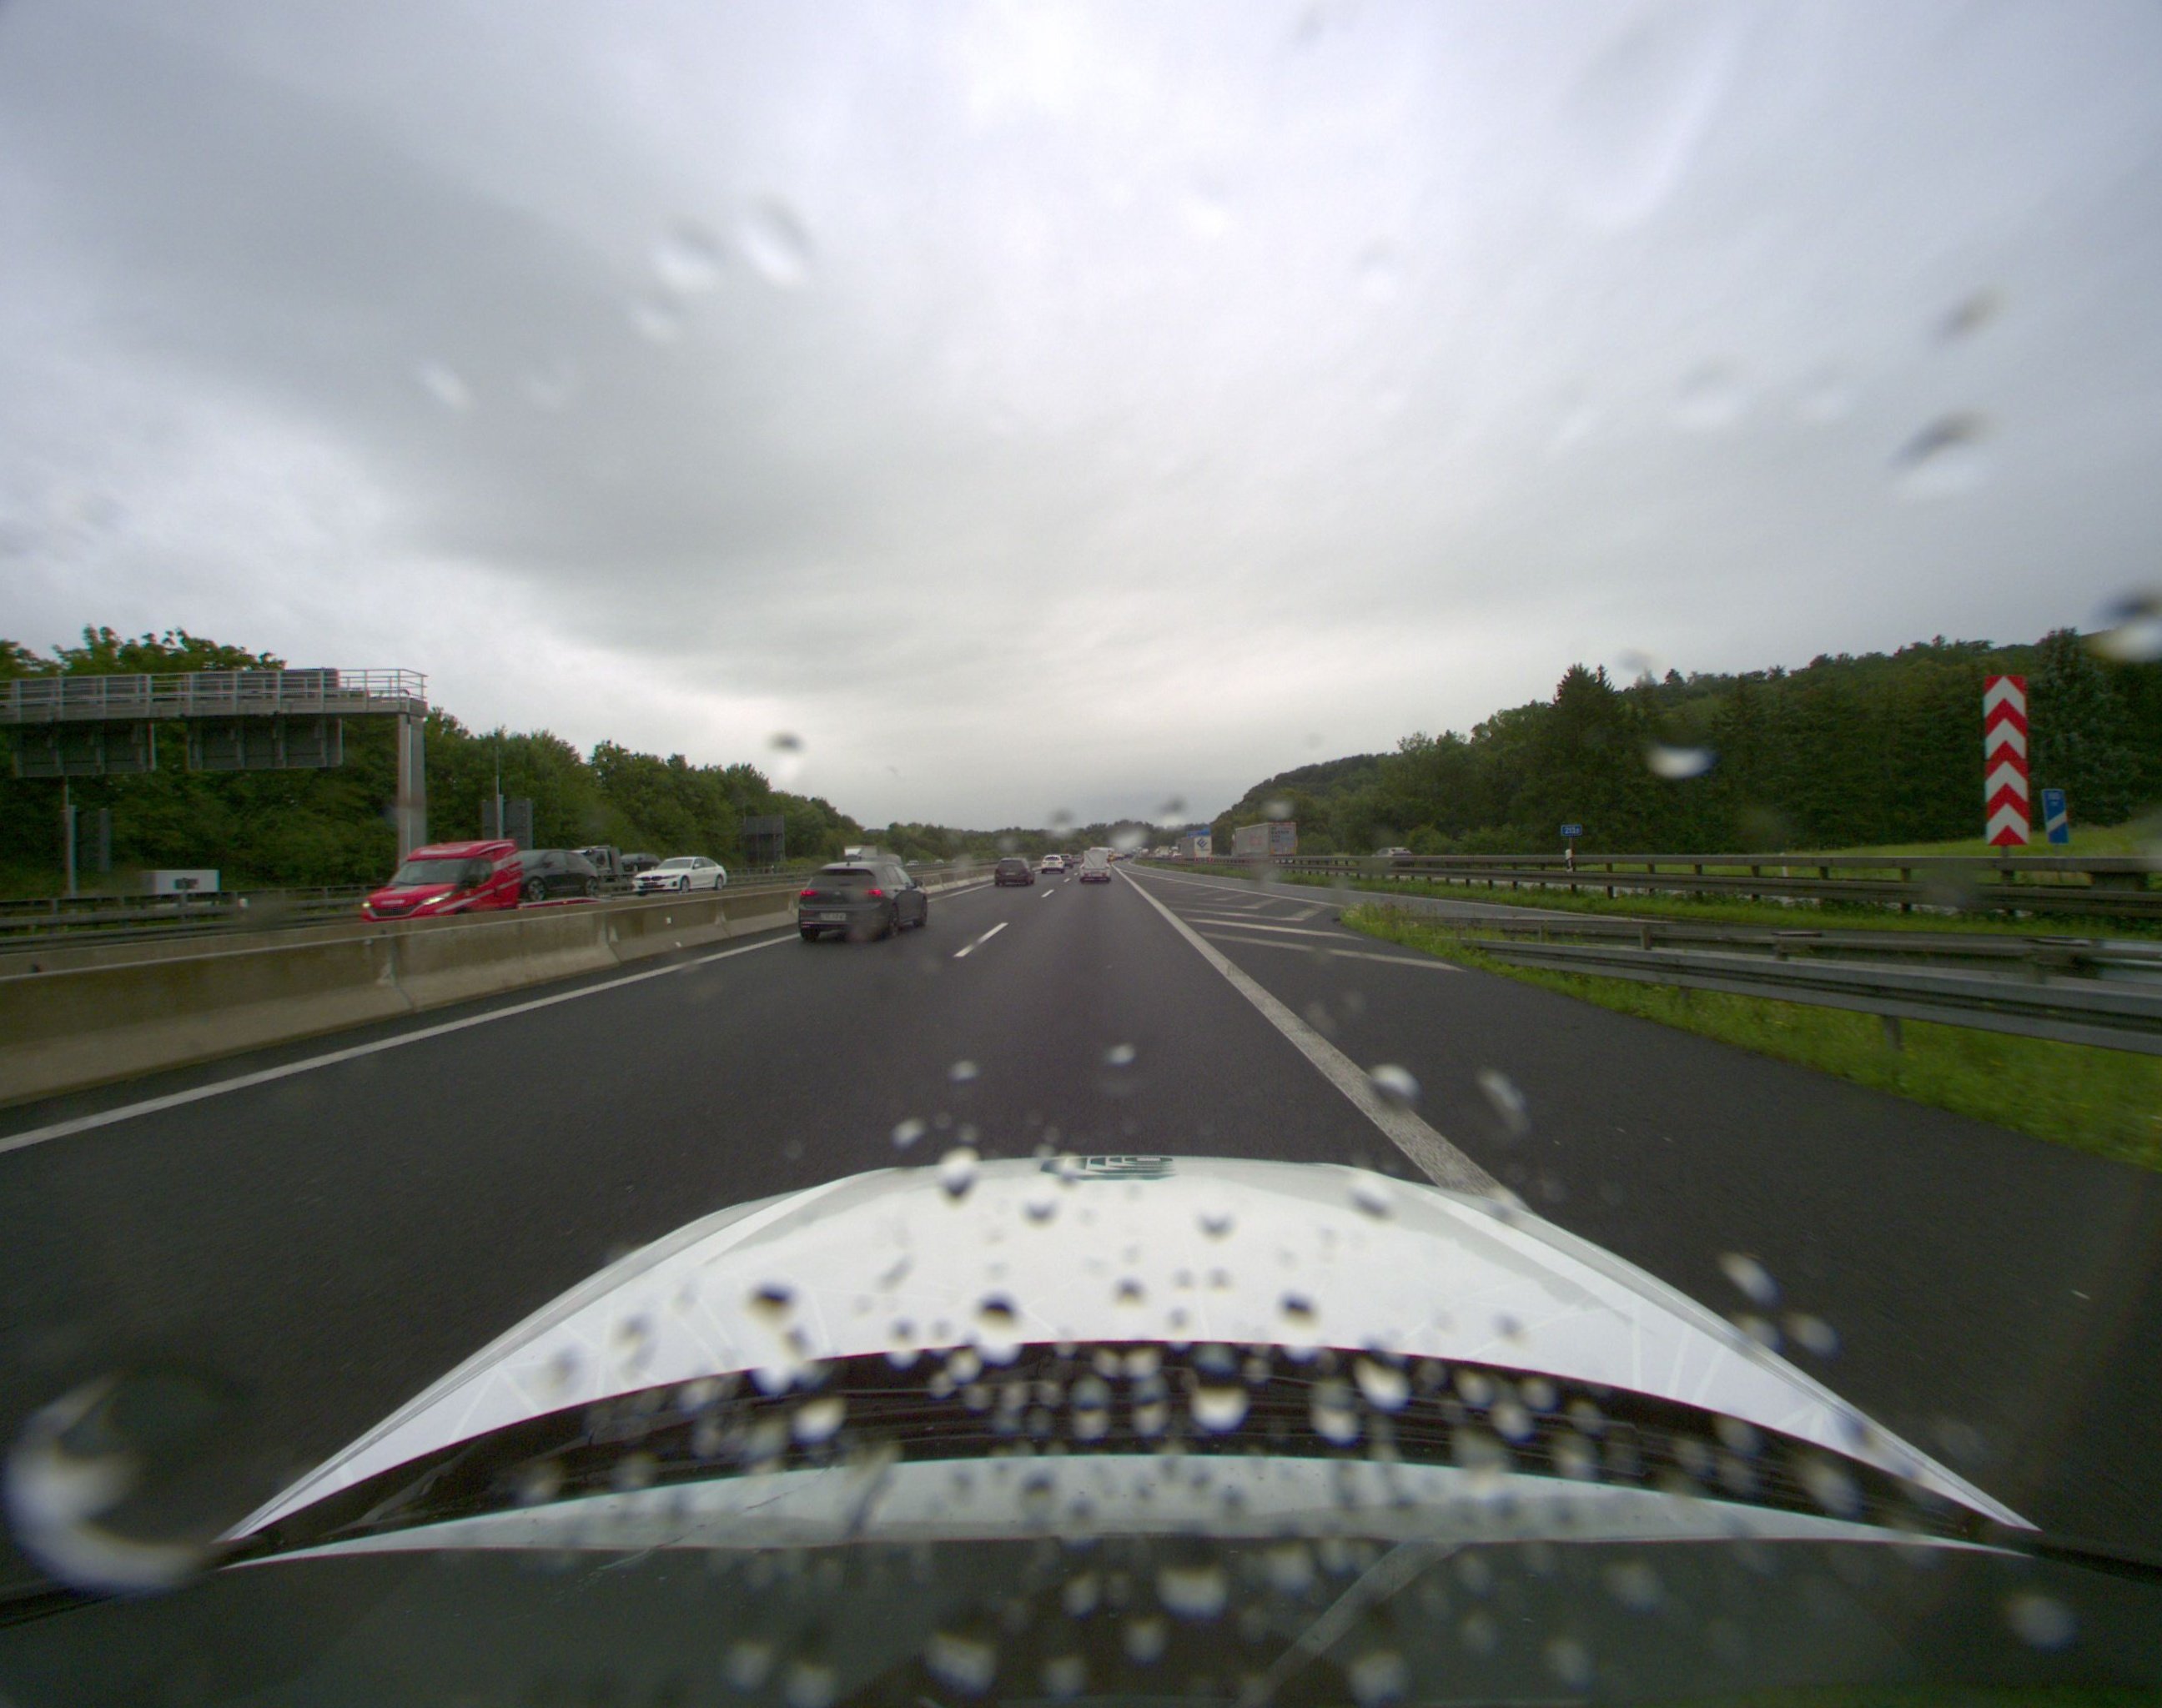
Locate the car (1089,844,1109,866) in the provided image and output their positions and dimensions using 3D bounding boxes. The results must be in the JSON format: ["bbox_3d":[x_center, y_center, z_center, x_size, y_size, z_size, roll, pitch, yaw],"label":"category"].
[{"bbox_3d":[2.352,0.152,107.505,2.324,2.725,6.538,-1,0,-1],"label":"car"}]

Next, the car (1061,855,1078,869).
[{"bbox_3d":[-1.390,0.962,100.476,1.969,1.703,4.803,0,0,1],"label":"car"}]

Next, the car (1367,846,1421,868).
[{"bbox_3d":[22.467,0.213,58.647,1.815,1.504,5.028,-1,0,-2],"label":"car"}]

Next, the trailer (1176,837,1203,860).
[{"bbox_3d":[17.119,-0.804,128.805,2.930,3.527,8.413,0,0,-2],"label":"trailer"}]

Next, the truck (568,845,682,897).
[{"bbox_3d":[-30.591,1.062,55.185,2.503,3.145,8.852,-2,0,2],"label":"truck"}]

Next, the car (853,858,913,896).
[{"bbox_3d":[-11.418,1.251,47.306,1.985,2.013,5.103,-2,0,3],"label":"car"}]

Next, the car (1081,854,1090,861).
[{"bbox_3d":[0.968,0.812,183.862,1.812,1.662,4.019,-1,0,2],"label":"car"}]

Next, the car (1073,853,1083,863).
[{"bbox_3d":[-0.480,0.769,151.983,1.732,1.794,4.001,-1,0,1],"label":"car"}]

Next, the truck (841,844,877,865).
[{"bbox_3d":[-32.395,0.111,119.028,2.730,2.872,8.542,-2,0,1],"label":"truck"}]

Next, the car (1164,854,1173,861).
[{"bbox_3d":[19.196,0.741,178.519,1.639,1.574,4.001,0,0,2],"label":"car"}]

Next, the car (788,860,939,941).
[{"bbox_3d":[-4.304,0.848,16.861,1.823,1.425,4.369,-1,0,2],"label":"car"}]

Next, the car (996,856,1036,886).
[{"bbox_3d":[-3.401,0.857,43.472,1.782,1.459,4.801,-1,0,0],"label":"car"}]

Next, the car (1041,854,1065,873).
[{"bbox_3d":[-2.541,0.819,72.203,2.043,1.670,4.536,-1,0,-3],"label":"car"}]

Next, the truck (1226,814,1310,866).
[{"bbox_3d":[18.123,-1.148,80.699,3.811,4.540,16.870,-1,0,-2],"label":"truck"}]

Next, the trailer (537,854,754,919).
[{"bbox_3d":[-15.967,1.040,31.127,2.528,2.013,10.247,-2,0,1],"label":"trailer"}]

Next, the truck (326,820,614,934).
[{"bbox_3d":[-16.183,0.548,22.397,2.418,2.594,7.095,-1,0,1],"label":"truck"}]

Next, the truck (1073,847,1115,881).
[{"bbox_3d":[0.770,0.592,47.489,2.234,1.839,6.585,-1,-1,1],"label":"truck"}]

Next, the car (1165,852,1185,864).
[{"bbox_3d":[13.982,0.584,121.935,1.990,1.616,5.070,-1,0,-5],"label":"car"}]

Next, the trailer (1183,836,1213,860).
[{"bbox_3d":[17.297,-0.840,120.536,3.069,3.527,8.080,0,0,-1],"label":"trailer"}]

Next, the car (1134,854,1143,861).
[{"bbox_3d":[12.002,0.709,169.820,1.639,1.574,4.001,0,0,2],"label":"car"}]

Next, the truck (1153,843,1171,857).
[{"bbox_3d":[21.665,-1.117,219.044,3.816,3.659,8.264,0,0,-2],"label":"truck"}]
